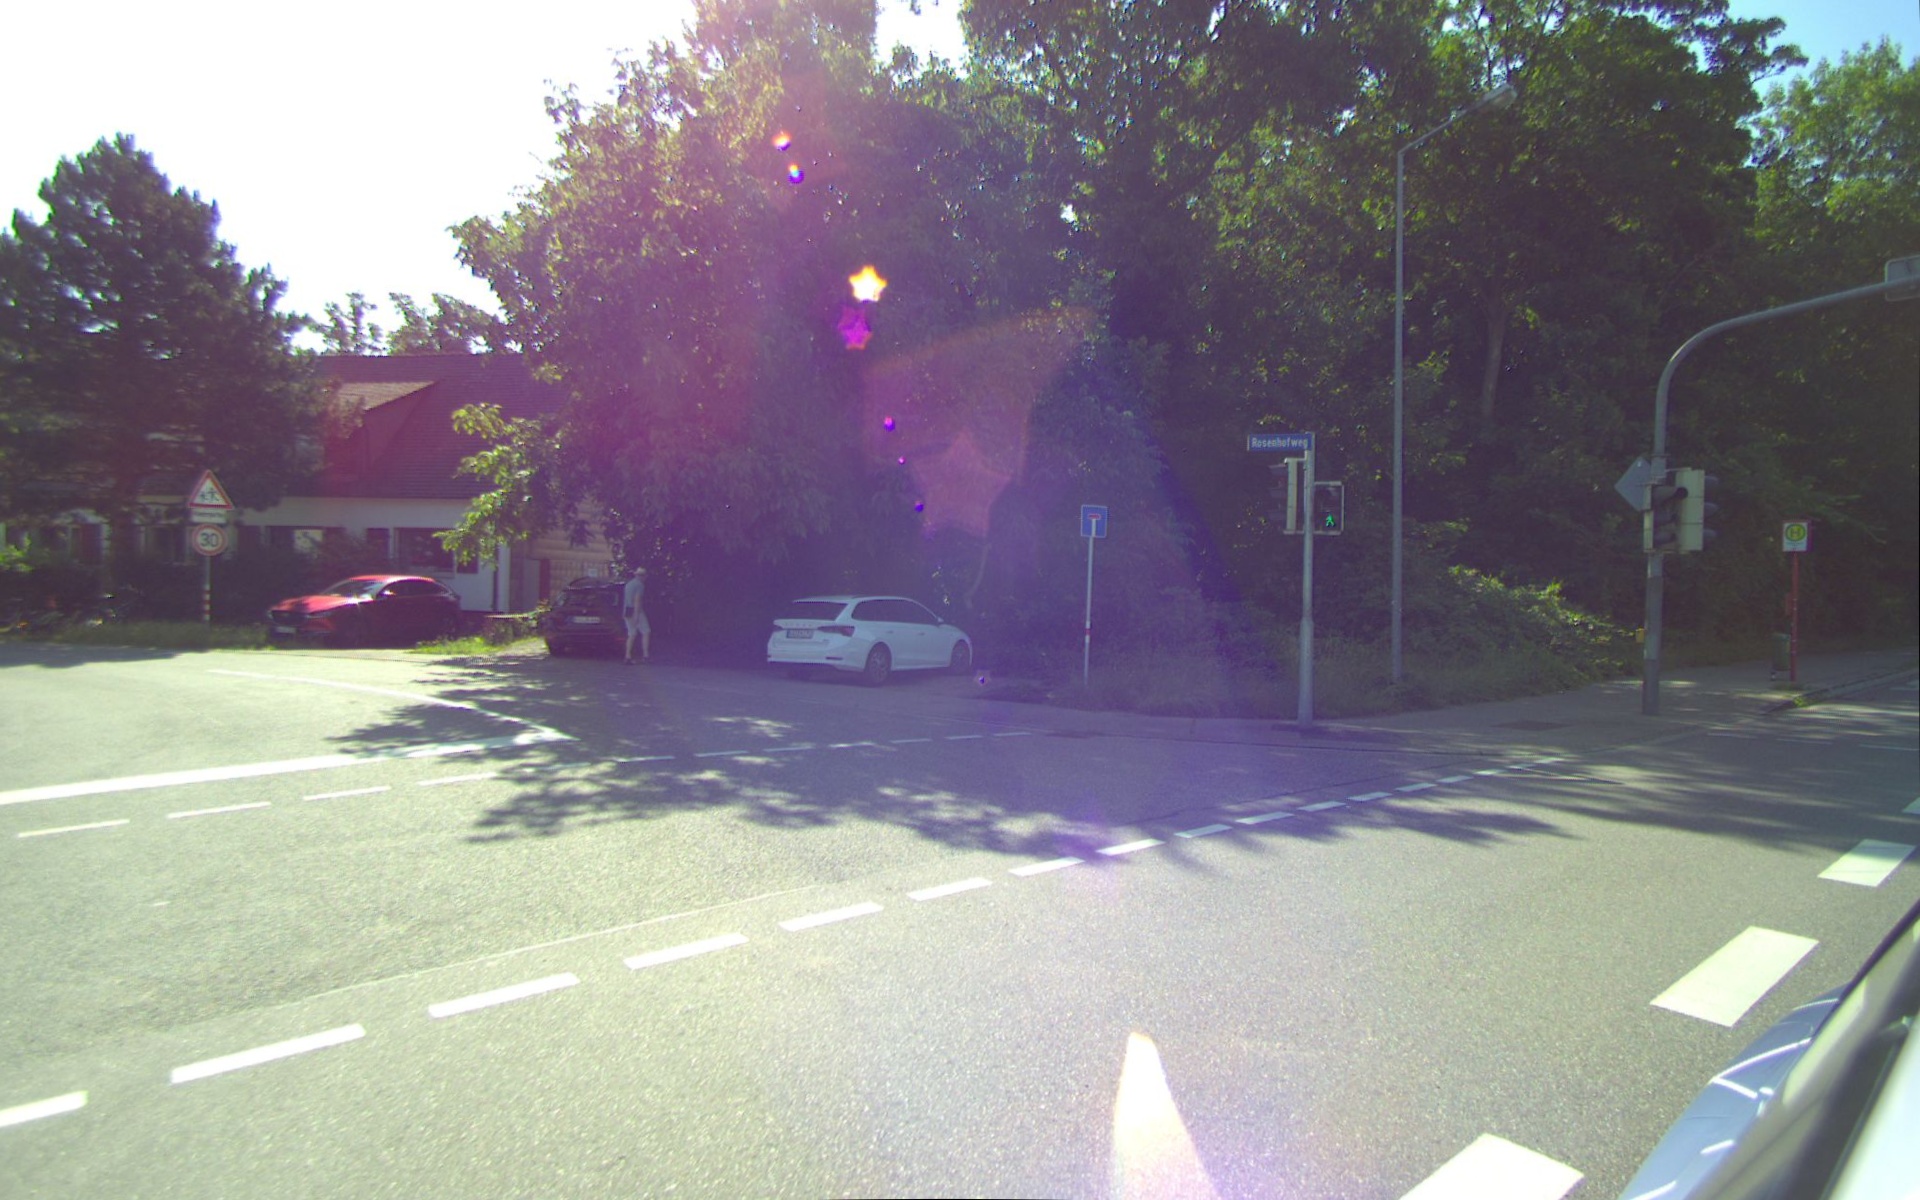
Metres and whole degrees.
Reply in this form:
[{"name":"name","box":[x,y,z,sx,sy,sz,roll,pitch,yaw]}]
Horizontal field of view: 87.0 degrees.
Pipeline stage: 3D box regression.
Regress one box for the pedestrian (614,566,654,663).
[{"name":"pedestrian","box":[-5.658,0.250,17.572,0.597,1.650,0.415,1,1,-11]}]

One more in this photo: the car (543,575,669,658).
[{"name":"car","box":[-6.988,0.263,20.324,1.596,1.482,3.796,1,1,-7]}]

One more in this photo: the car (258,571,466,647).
[{"name":"car","box":[-13.077,0.144,22.411,1.606,1.482,3.968,2,1,15]}]

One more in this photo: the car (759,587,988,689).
[{"name":"car","box":[-1.320,0.550,17.558,1.616,1.482,4.565,2,1,30]}]
